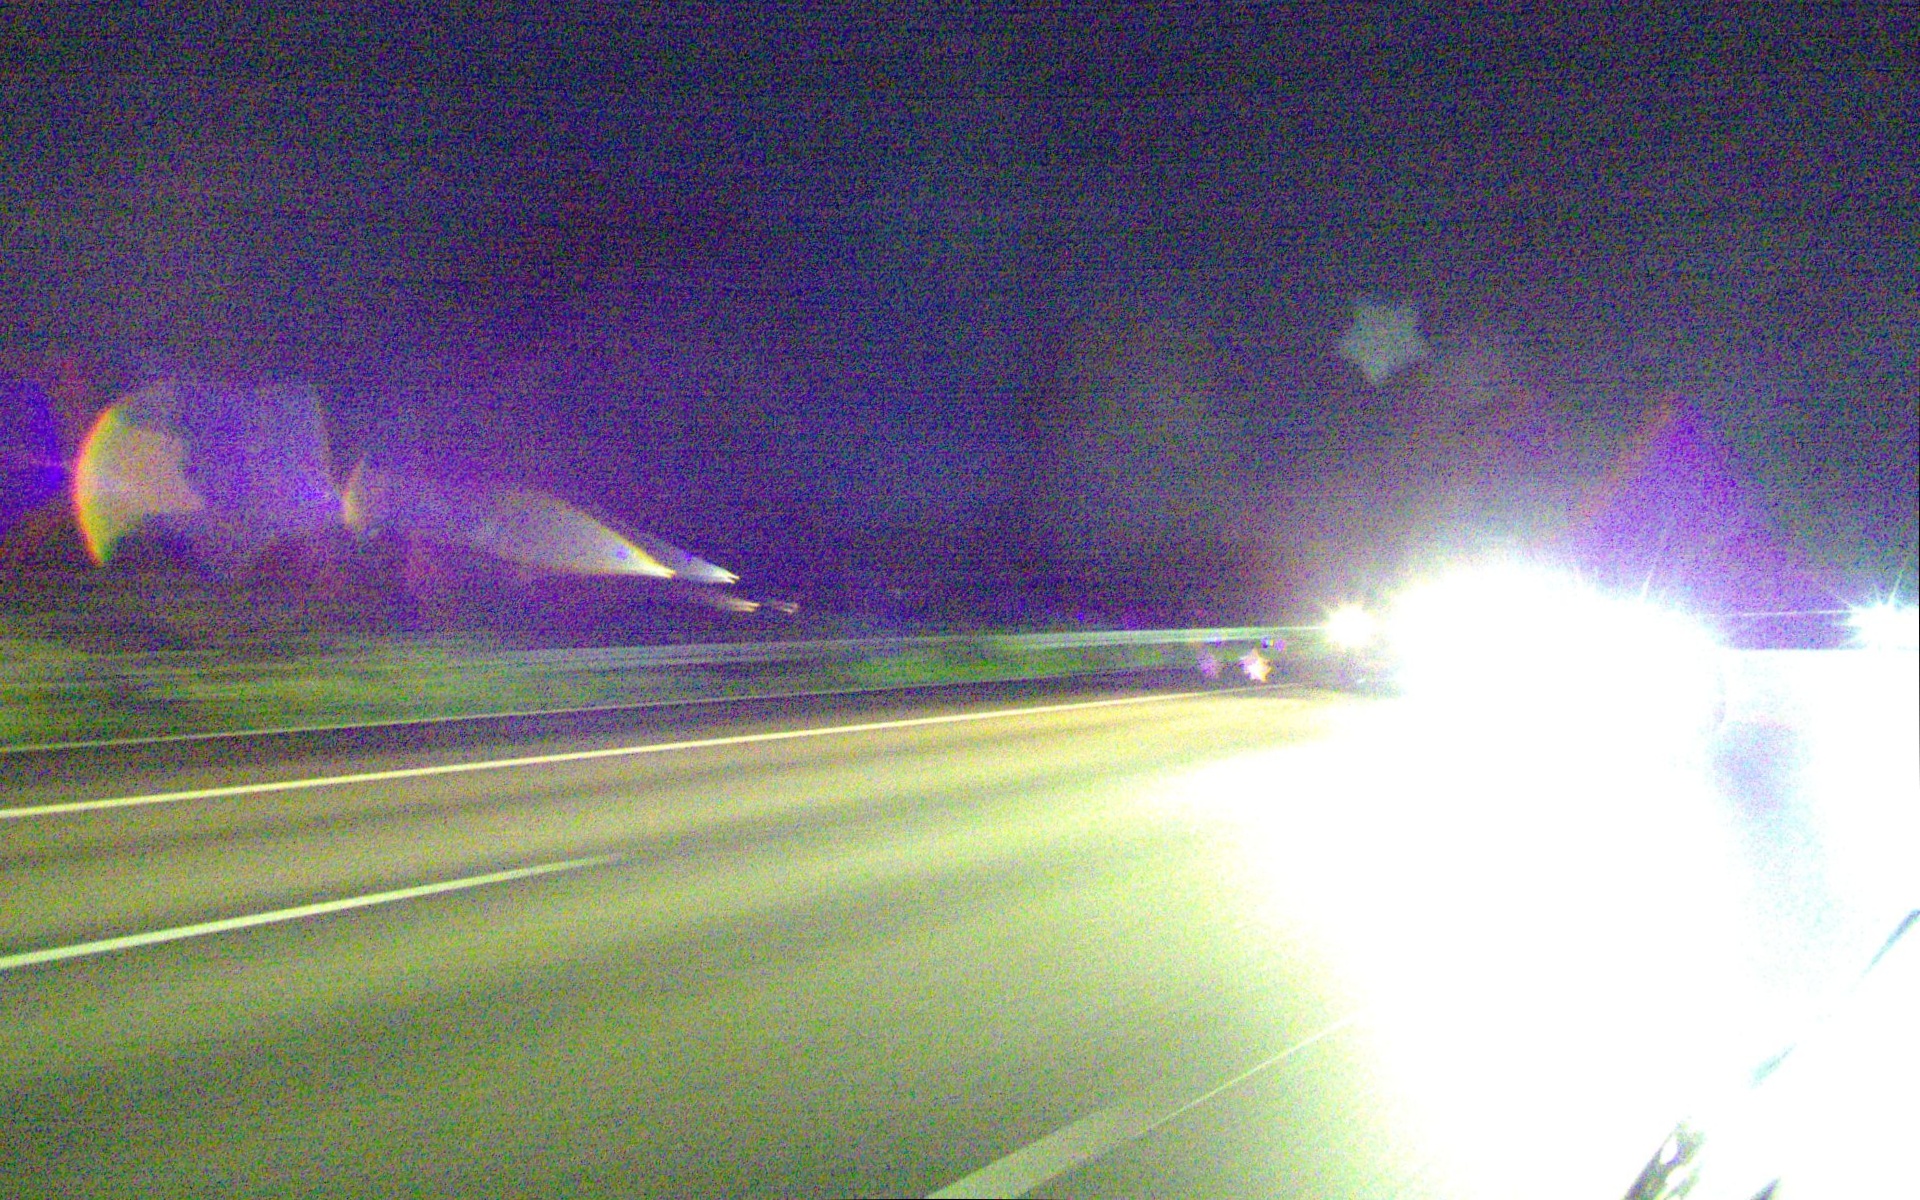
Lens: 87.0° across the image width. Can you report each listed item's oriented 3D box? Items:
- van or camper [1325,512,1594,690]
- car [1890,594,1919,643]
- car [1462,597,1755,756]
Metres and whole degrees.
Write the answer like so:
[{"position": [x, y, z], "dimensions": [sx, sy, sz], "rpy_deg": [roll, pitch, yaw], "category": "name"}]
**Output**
[{"position": [9.568, 0.010, 19.011], "dimensions": [6.686, 2.807, 2.210], "rpy_deg": [0, 0, -42], "category": "van or camper"}, {"position": [32.726, 0.622, 33.951], "dimensions": [4.151, 1.560, 1.794], "rpy_deg": [0, 1, -41], "category": "car"}, {"position": [7.438, 0.707, 11.443], "dimensions": [4.151, 1.431, 1.689], "rpy_deg": [-1, 1, -41], "category": "car"}]
